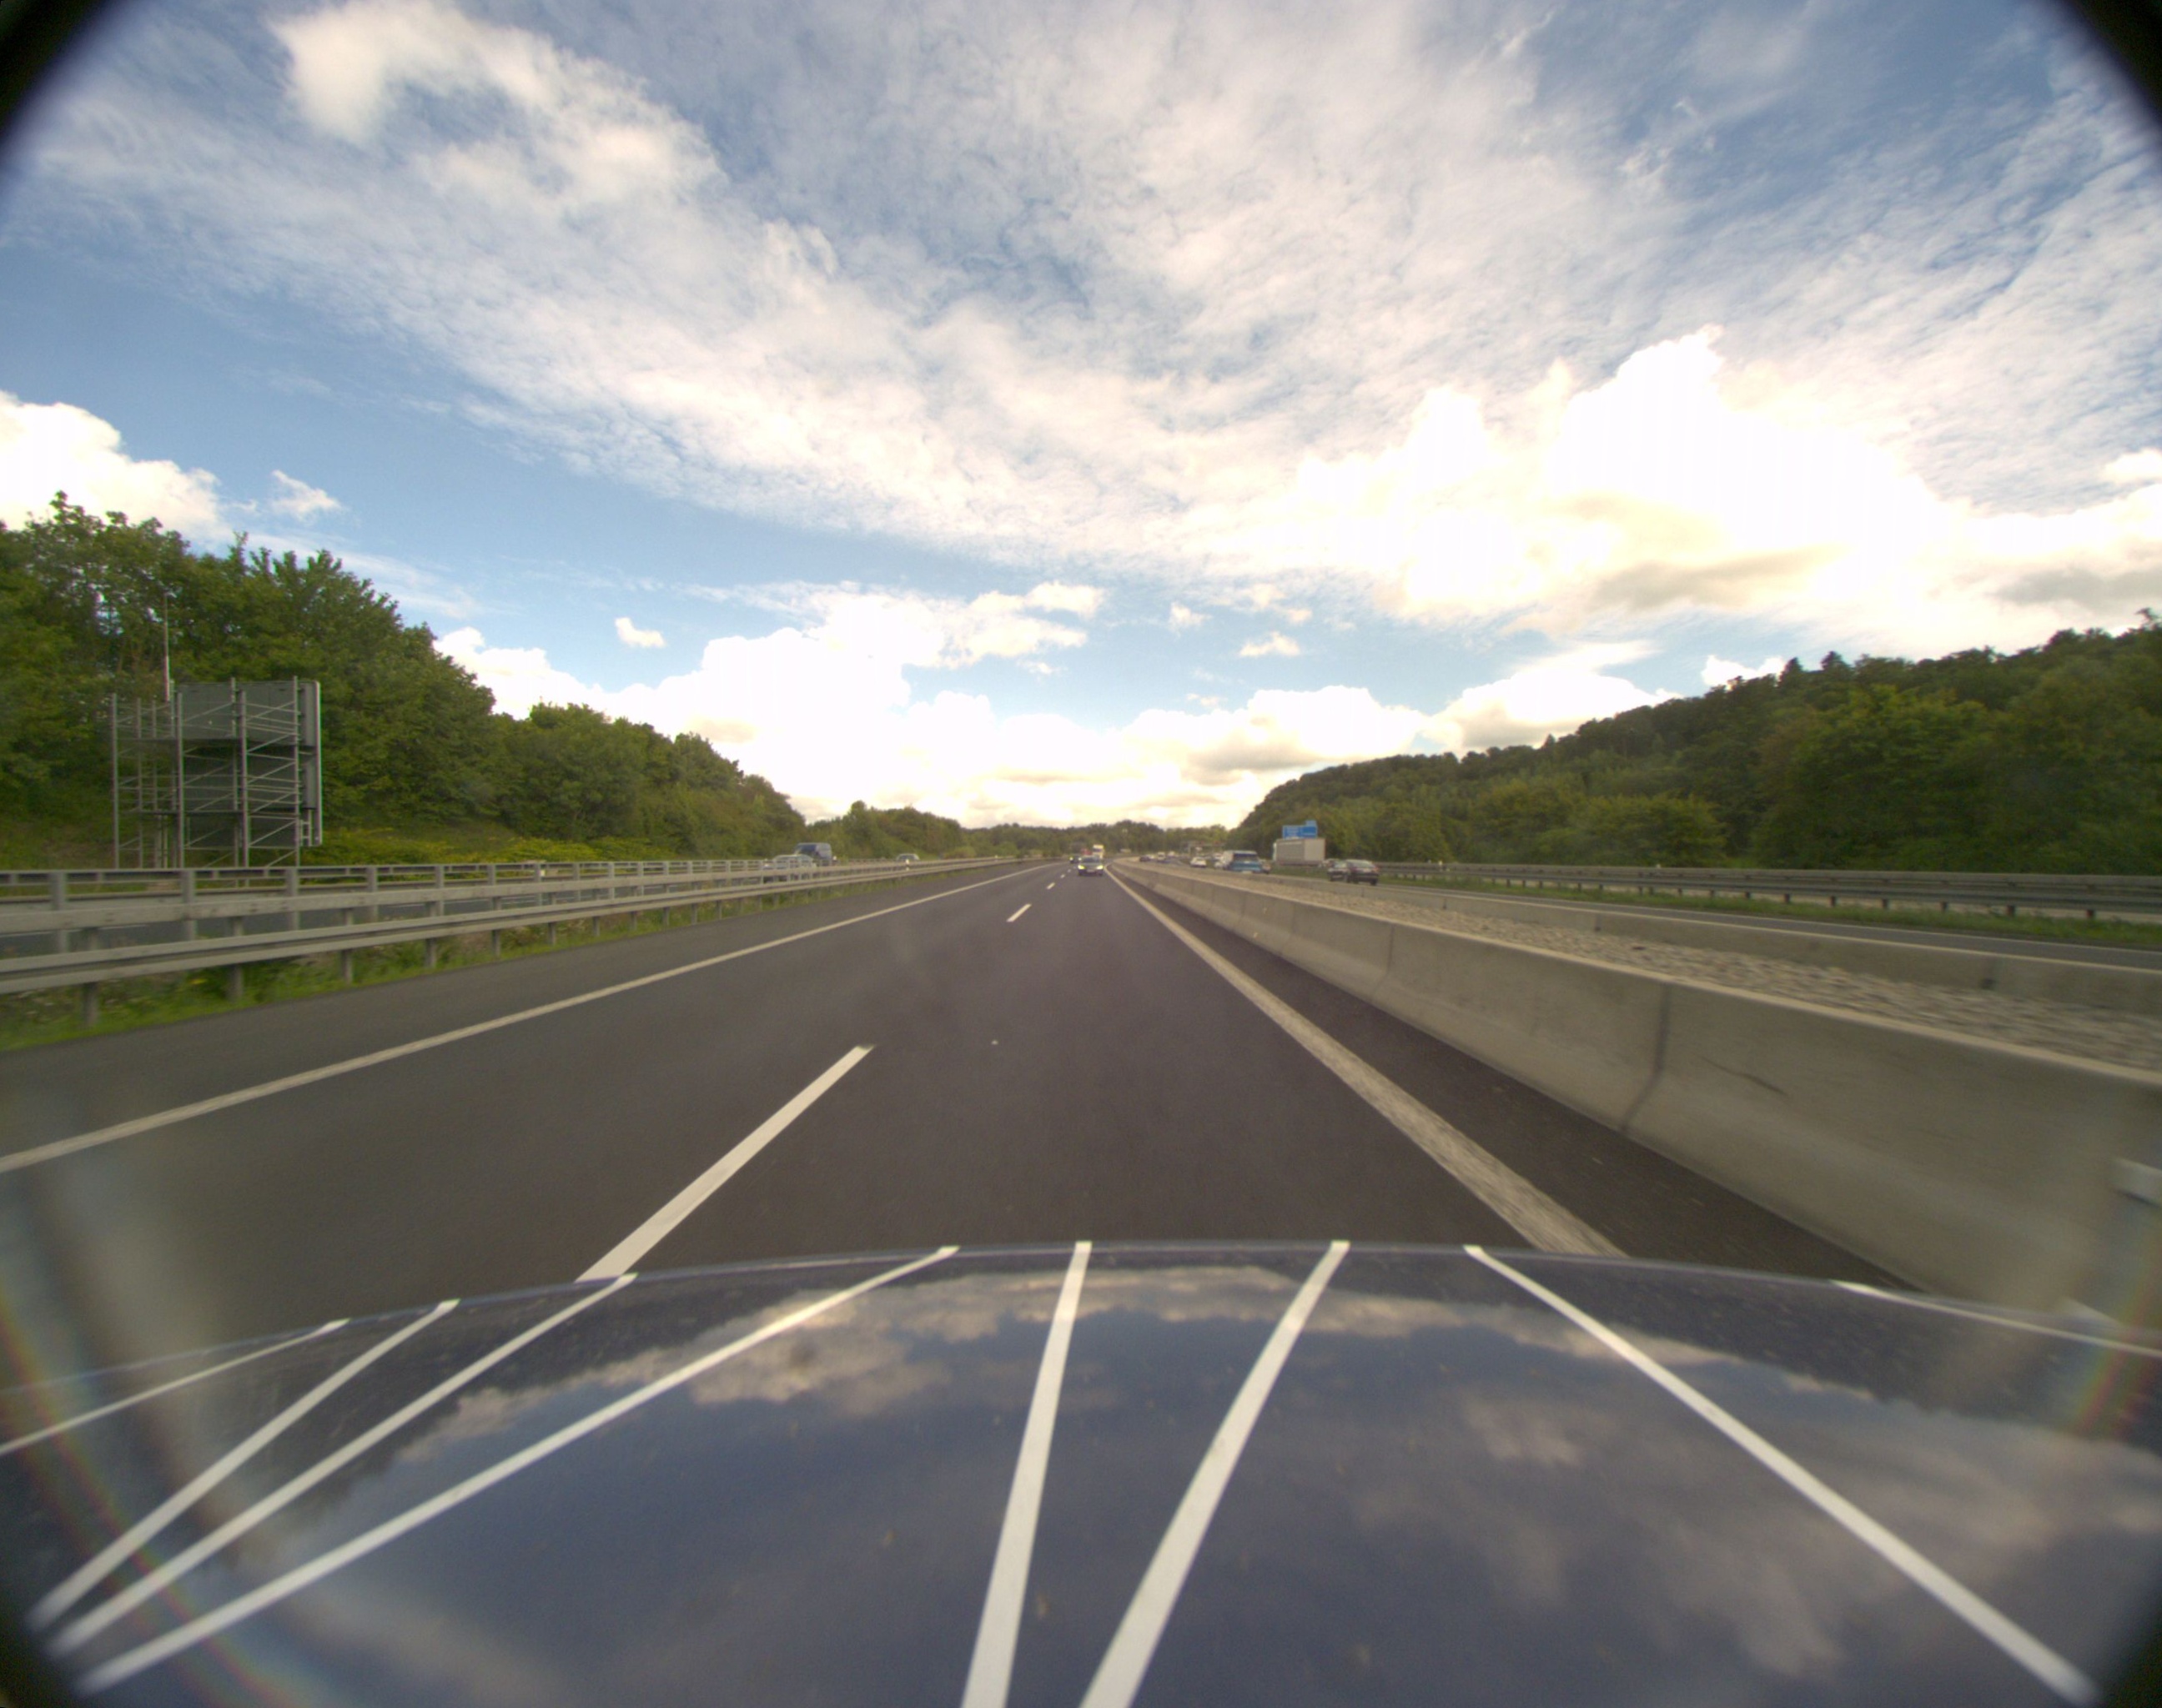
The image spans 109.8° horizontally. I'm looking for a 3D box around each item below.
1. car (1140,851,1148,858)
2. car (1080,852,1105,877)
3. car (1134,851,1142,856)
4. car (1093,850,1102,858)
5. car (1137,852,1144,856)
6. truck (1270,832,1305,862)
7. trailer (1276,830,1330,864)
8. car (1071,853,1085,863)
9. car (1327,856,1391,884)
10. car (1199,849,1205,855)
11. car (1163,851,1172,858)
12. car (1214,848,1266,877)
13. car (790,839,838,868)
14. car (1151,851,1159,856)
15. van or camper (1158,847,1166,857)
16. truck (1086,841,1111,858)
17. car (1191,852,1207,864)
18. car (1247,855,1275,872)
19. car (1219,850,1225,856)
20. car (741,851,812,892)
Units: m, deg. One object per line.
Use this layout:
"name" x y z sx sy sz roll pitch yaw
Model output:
"car" 15.505 0.102 186.142 1.753 1.621 4.843 1 1 7
"car" 0.836 0.709 55.055 1.724 1.722 3.939 -1 1 2
"car" 16.922 -0.221 225.459 1.867 1.413 4.427 1 1 8
"car" 3.588 -0.028 163.126 1.753 1.621 4.842 1 1 4
"car" 18.446 0.021 235.445 1.867 1.413 4.428 1 1 11
"truck" 28.511 -1.000 105.149 3.159 4.042 6.286 0 1 1
"trailer" 28.413 -0.963 98.010 3.159 4.070 13.385 0 1 1
"car" -0.509 0.683 128.644 1.997 1.591 4.001 1 1 6
"car" 16.586 0.915 45.714 1.947 1.486 5.306 0 1 1
"car" 41.556 -0.578 261.550 1.997 2.002 4.002 1 1 9
"car" 20.625 0.098 181.468 1.754 1.413 4.208 0 1 1
"car" 8.701 0.398 41.933 1.852 1.486 4.972 0 1 1
"car" -21.246 -0.061 60.742 1.999 2.173 5.127 -1 1 0
"car" 25.332 -0.233 260.520 1.753 1.444 3.941 1 1 17
"van or camper" 21.186 -0.467 199.026 2.104 2.521 5.424 1 1 5
"truck" 4.790 -1.246 202.919 4.944 4.306 14.638 1 1 9
"car" 17.350 0.543 111.963 1.802 1.621 4.754 0 1 2
"car" 17.819 0.915 75.339 1.649 1.486 4.996 0 1 1
"car" 46.617 -0.416 251.564 1.997 2.002 4.002 1 1 9
"car" -15.702 0.847 39.423 1.998 2.002 4.000 0 1 1
